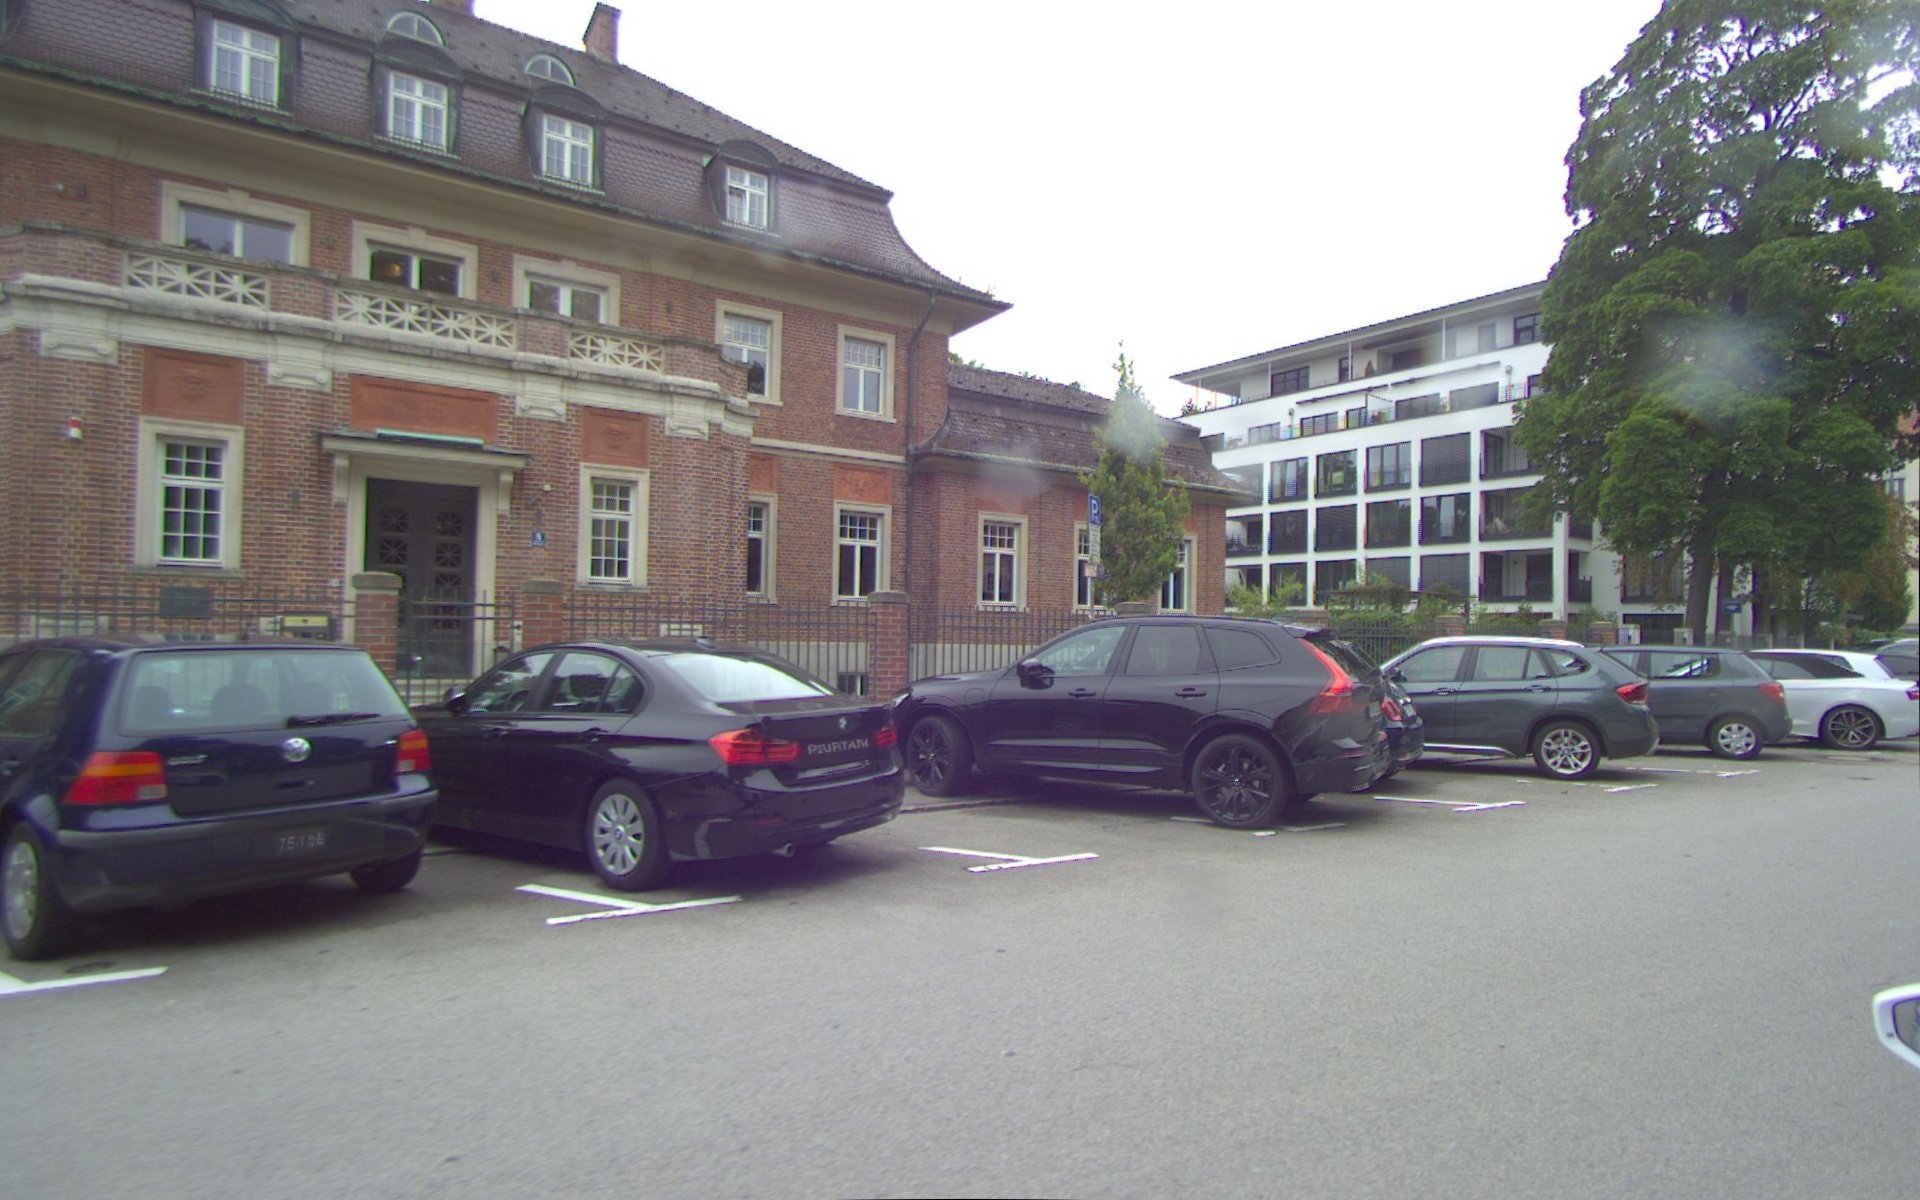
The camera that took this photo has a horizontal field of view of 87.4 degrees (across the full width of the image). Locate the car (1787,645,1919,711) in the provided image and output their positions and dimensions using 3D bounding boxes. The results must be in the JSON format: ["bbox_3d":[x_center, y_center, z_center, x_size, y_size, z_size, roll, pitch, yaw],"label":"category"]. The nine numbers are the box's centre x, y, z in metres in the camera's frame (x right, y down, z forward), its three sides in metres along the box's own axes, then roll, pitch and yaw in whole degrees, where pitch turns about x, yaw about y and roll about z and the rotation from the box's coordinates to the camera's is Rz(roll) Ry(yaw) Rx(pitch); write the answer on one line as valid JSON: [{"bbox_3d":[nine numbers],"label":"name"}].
[{"bbox_3d":[23.279,1.911,24.529,4.326,1.510,2.018,0,-3,20],"label":"car"}]

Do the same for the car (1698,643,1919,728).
[{"bbox_3d":[16.820,1.594,18.918,4.326,1.458,1.966,0,-3,21],"label":"car"}]

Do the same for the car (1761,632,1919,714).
[{"bbox_3d":[21.093,1.643,22.600,4.325,1.721,2.137,0,-3,20],"label":"car"}]

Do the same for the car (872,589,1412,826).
[{"bbox_3d":[1.574,0.873,9.193,4.449,1.686,1.984,-2,-4,32],"label":"car"}]

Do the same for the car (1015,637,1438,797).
[{"bbox_3d":[2.908,1.208,11.324,4.257,1.490,1.815,-2,-4,34],"label":"car"}]

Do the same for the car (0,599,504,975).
[{"bbox_3d":[-4.873,0.840,5.927,4.449,1.470,1.816,-2,-4,32],"label":"car"}]

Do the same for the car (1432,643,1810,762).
[{"bbox_3d":[9.281,1.367,14.505,4.318,1.470,1.654,-1,-3,31],"label":"car"}]

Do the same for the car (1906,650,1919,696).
[{"bbox_3d":[32.426,2.281,31.107,4.136,1.480,1.737,-1,-3,22],"label":"car"}]

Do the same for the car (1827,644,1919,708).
[{"bbox_3d":[26.022,2.036,26.582,4.334,1.642,2.083,0,-3,31],"label":"car"}]

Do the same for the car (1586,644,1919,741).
[{"bbox_3d":[13.792,1.599,17.746,4.435,1.529,1.930,-3,-4,28],"label":"car"}]

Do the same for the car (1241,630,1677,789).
[{"bbox_3d":[5.908,1.199,12.264,4.446,1.588,1.886,0,-3,30],"label":"car"}]

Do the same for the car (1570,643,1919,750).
[{"bbox_3d":[12.304,1.440,15.871,4.434,1.470,1.895,-1,-3,28],"label":"car"}]

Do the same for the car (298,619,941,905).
[{"bbox_3d":[-2.511,0.929,7.090,4.449,1.436,1.923,-2,-4,32],"label":"car"}]
